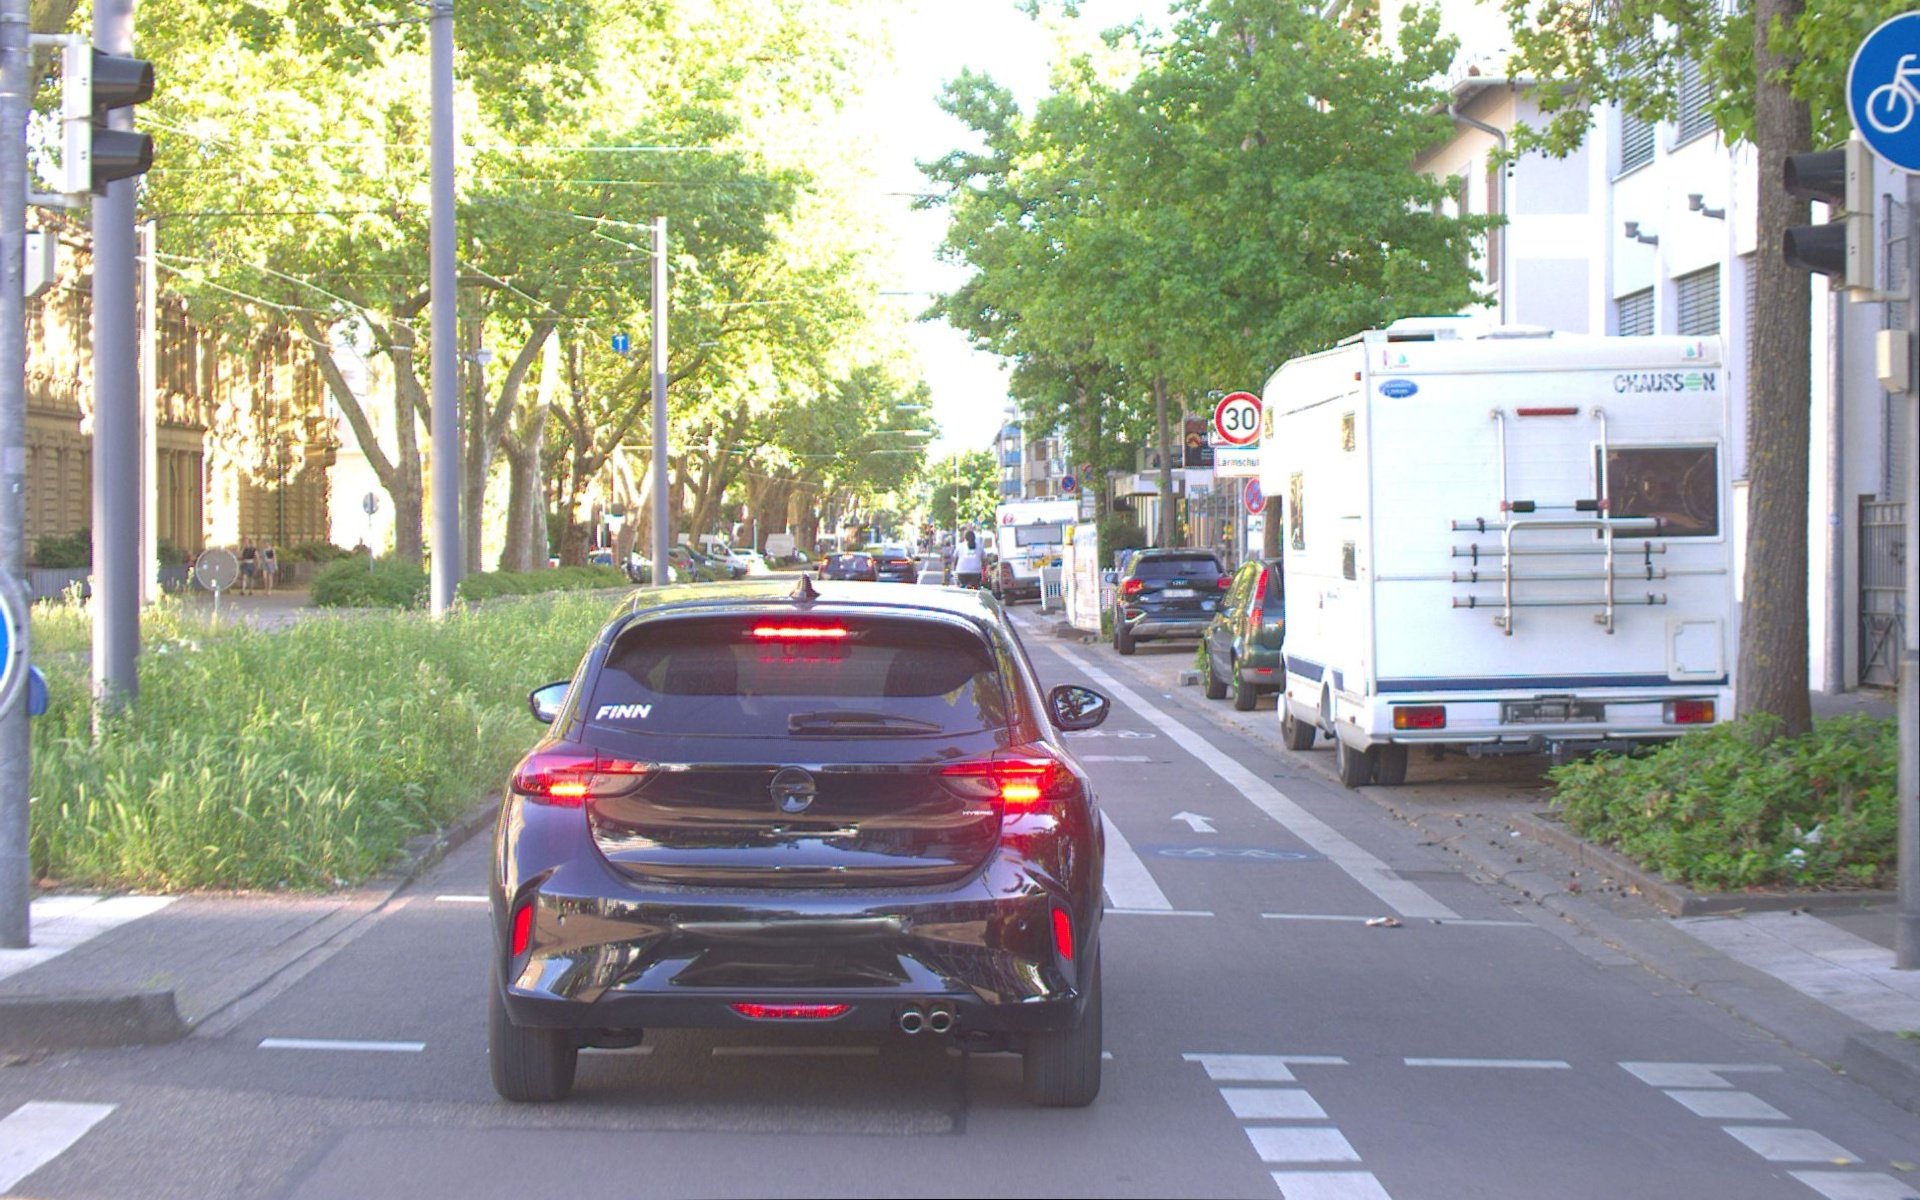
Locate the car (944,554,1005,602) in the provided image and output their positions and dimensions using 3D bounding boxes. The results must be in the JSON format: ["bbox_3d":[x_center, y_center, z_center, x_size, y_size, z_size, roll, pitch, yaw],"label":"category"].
[{"bbox_3d":[0.505,-0.728,111.785,1.905,1.420,4.215,1,2,1],"label":"car"}]

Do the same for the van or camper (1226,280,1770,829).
[{"bbox_3d":[3.437,-0.357,23.836,2.375,3.114,7.551,-2,1,-1],"label":"van or camper"}]

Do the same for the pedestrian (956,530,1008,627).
[{"bbox_3d":[0.464,-0.462,72.560,1.036,2.017,1.212,1,1,-1],"label":"pedestrian"}]

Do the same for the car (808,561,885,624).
[{"bbox_3d":[-2.924,-0.208,89.118,1.790,1.505,3.874,-1,1,1],"label":"car"}]

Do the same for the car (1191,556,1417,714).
[{"bbox_3d":[3.328,0.298,33.914,1.685,1.415,4.049,0,1,-2],"label":"car"}]

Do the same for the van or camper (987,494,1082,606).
[{"bbox_3d":[2.113,-1.426,97.367,2.486,2.983,5.434,2,1,1],"label":"van or camper"}]

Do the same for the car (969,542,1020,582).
[{"bbox_3d":[1.343,-1.457,131.511,1.905,1.420,4.215,1,2,1],"label":"car"}]

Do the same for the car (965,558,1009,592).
[{"bbox_3d":[1.237,-1.150,154.660,1.905,1.420,4.215,1,2,1],"label":"car"}]

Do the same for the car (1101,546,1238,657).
[{"bbox_3d":[3.057,-0.004,50.819,1.790,1.505,3.874,-1,1,1],"label":"car"}]

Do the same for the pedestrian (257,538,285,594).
[{"bbox_3d":[-20.427,-1.013,101.928,0.658,1.616,0.615,3,1,-1],"label":"pedestrian"}]

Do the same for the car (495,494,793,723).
[{"bbox_3d":[-2.470,0.009,27.920,1.993,1.622,4.471,3,1,-1],"label":"car"}]

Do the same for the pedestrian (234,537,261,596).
[{"bbox_3d":[-21.087,-0.997,101.750,0.618,1.727,0.596,3,1,-1],"label":"pedestrian"}]

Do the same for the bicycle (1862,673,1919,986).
[{"bbox_3d":[4.211,0.797,12.254,1.944,1.066,0.641,0,1,-24],"label":"bicycle"}]

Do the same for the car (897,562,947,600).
[{"bbox_3d":[-1.559,-0.787,141.224,1.905,1.420,4.215,1,2,1],"label":"car"}]

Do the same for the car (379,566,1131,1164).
[{"bbox_3d":[-0.487,0.656,10.882,1.905,1.420,4.215,1,2,1],"label":"car"}]

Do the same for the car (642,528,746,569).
[{"bbox_3d":[-14.918,-2.895,193.058,5.687,2.190,2.289,0,1,0],"label":"car"}]

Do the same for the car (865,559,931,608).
[{"bbox_3d":[-1.920,-0.528,107.541,1.905,1.420,4.215,1,2,1],"label":"car"}]
